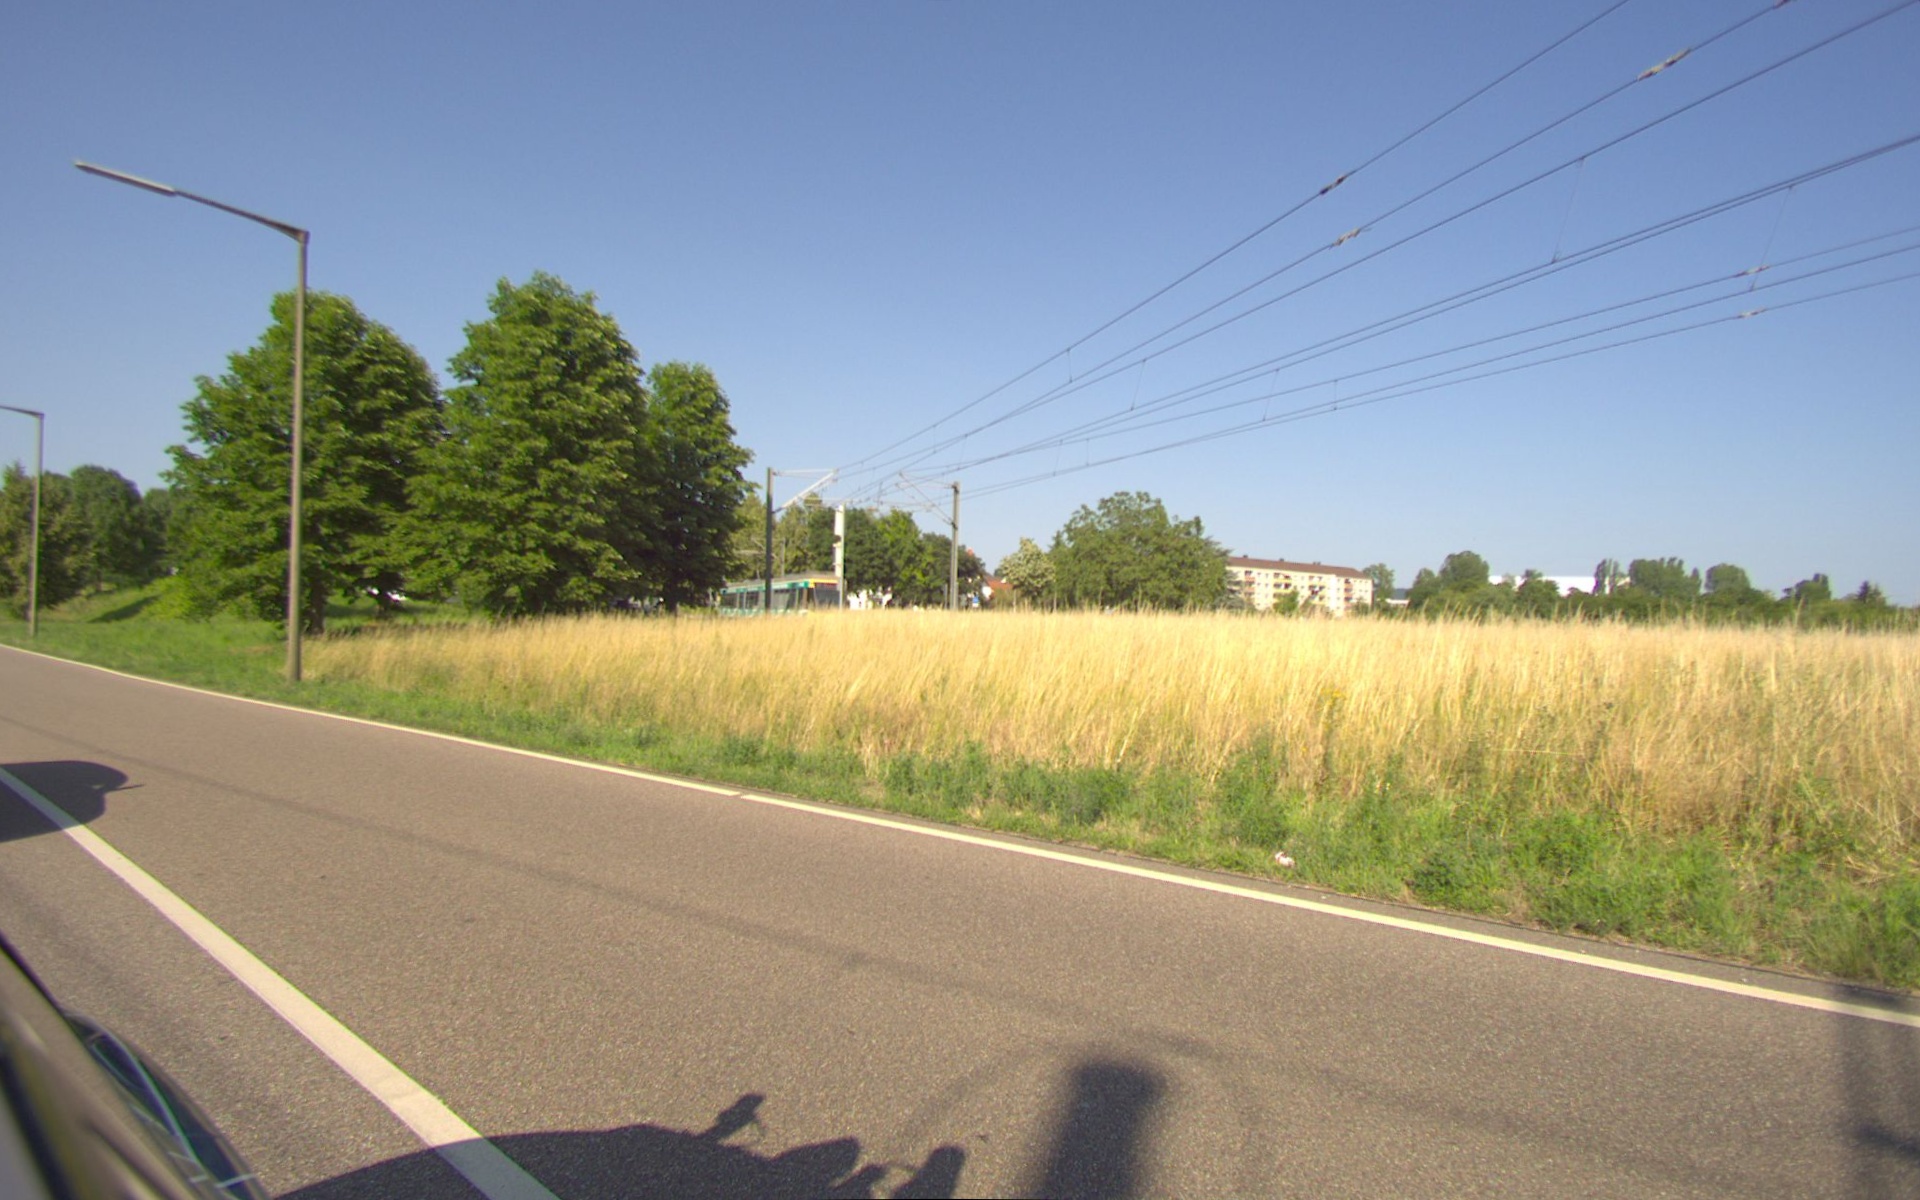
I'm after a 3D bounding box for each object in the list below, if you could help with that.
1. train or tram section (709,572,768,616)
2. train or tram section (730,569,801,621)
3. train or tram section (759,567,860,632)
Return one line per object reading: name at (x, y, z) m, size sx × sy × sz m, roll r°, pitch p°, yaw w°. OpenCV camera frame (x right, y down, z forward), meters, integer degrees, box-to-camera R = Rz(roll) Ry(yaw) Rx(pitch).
train or tram section at (-19.005, -0.455, 86.059) m, size 2.908 × 3.511 × 12.206 m, roll 0°, pitch 0°, yaw -22°
train or tram section at (-14.508, -0.395, 74.685) m, size 2.876 × 3.480 × 12.206 m, roll 0°, pitch 1°, yaw -22°
train or tram section at (-9.588, -0.207, 62.431) m, size 2.865 × 3.595 × 14.309 m, roll 0°, pitch 1°, yaw -22°
